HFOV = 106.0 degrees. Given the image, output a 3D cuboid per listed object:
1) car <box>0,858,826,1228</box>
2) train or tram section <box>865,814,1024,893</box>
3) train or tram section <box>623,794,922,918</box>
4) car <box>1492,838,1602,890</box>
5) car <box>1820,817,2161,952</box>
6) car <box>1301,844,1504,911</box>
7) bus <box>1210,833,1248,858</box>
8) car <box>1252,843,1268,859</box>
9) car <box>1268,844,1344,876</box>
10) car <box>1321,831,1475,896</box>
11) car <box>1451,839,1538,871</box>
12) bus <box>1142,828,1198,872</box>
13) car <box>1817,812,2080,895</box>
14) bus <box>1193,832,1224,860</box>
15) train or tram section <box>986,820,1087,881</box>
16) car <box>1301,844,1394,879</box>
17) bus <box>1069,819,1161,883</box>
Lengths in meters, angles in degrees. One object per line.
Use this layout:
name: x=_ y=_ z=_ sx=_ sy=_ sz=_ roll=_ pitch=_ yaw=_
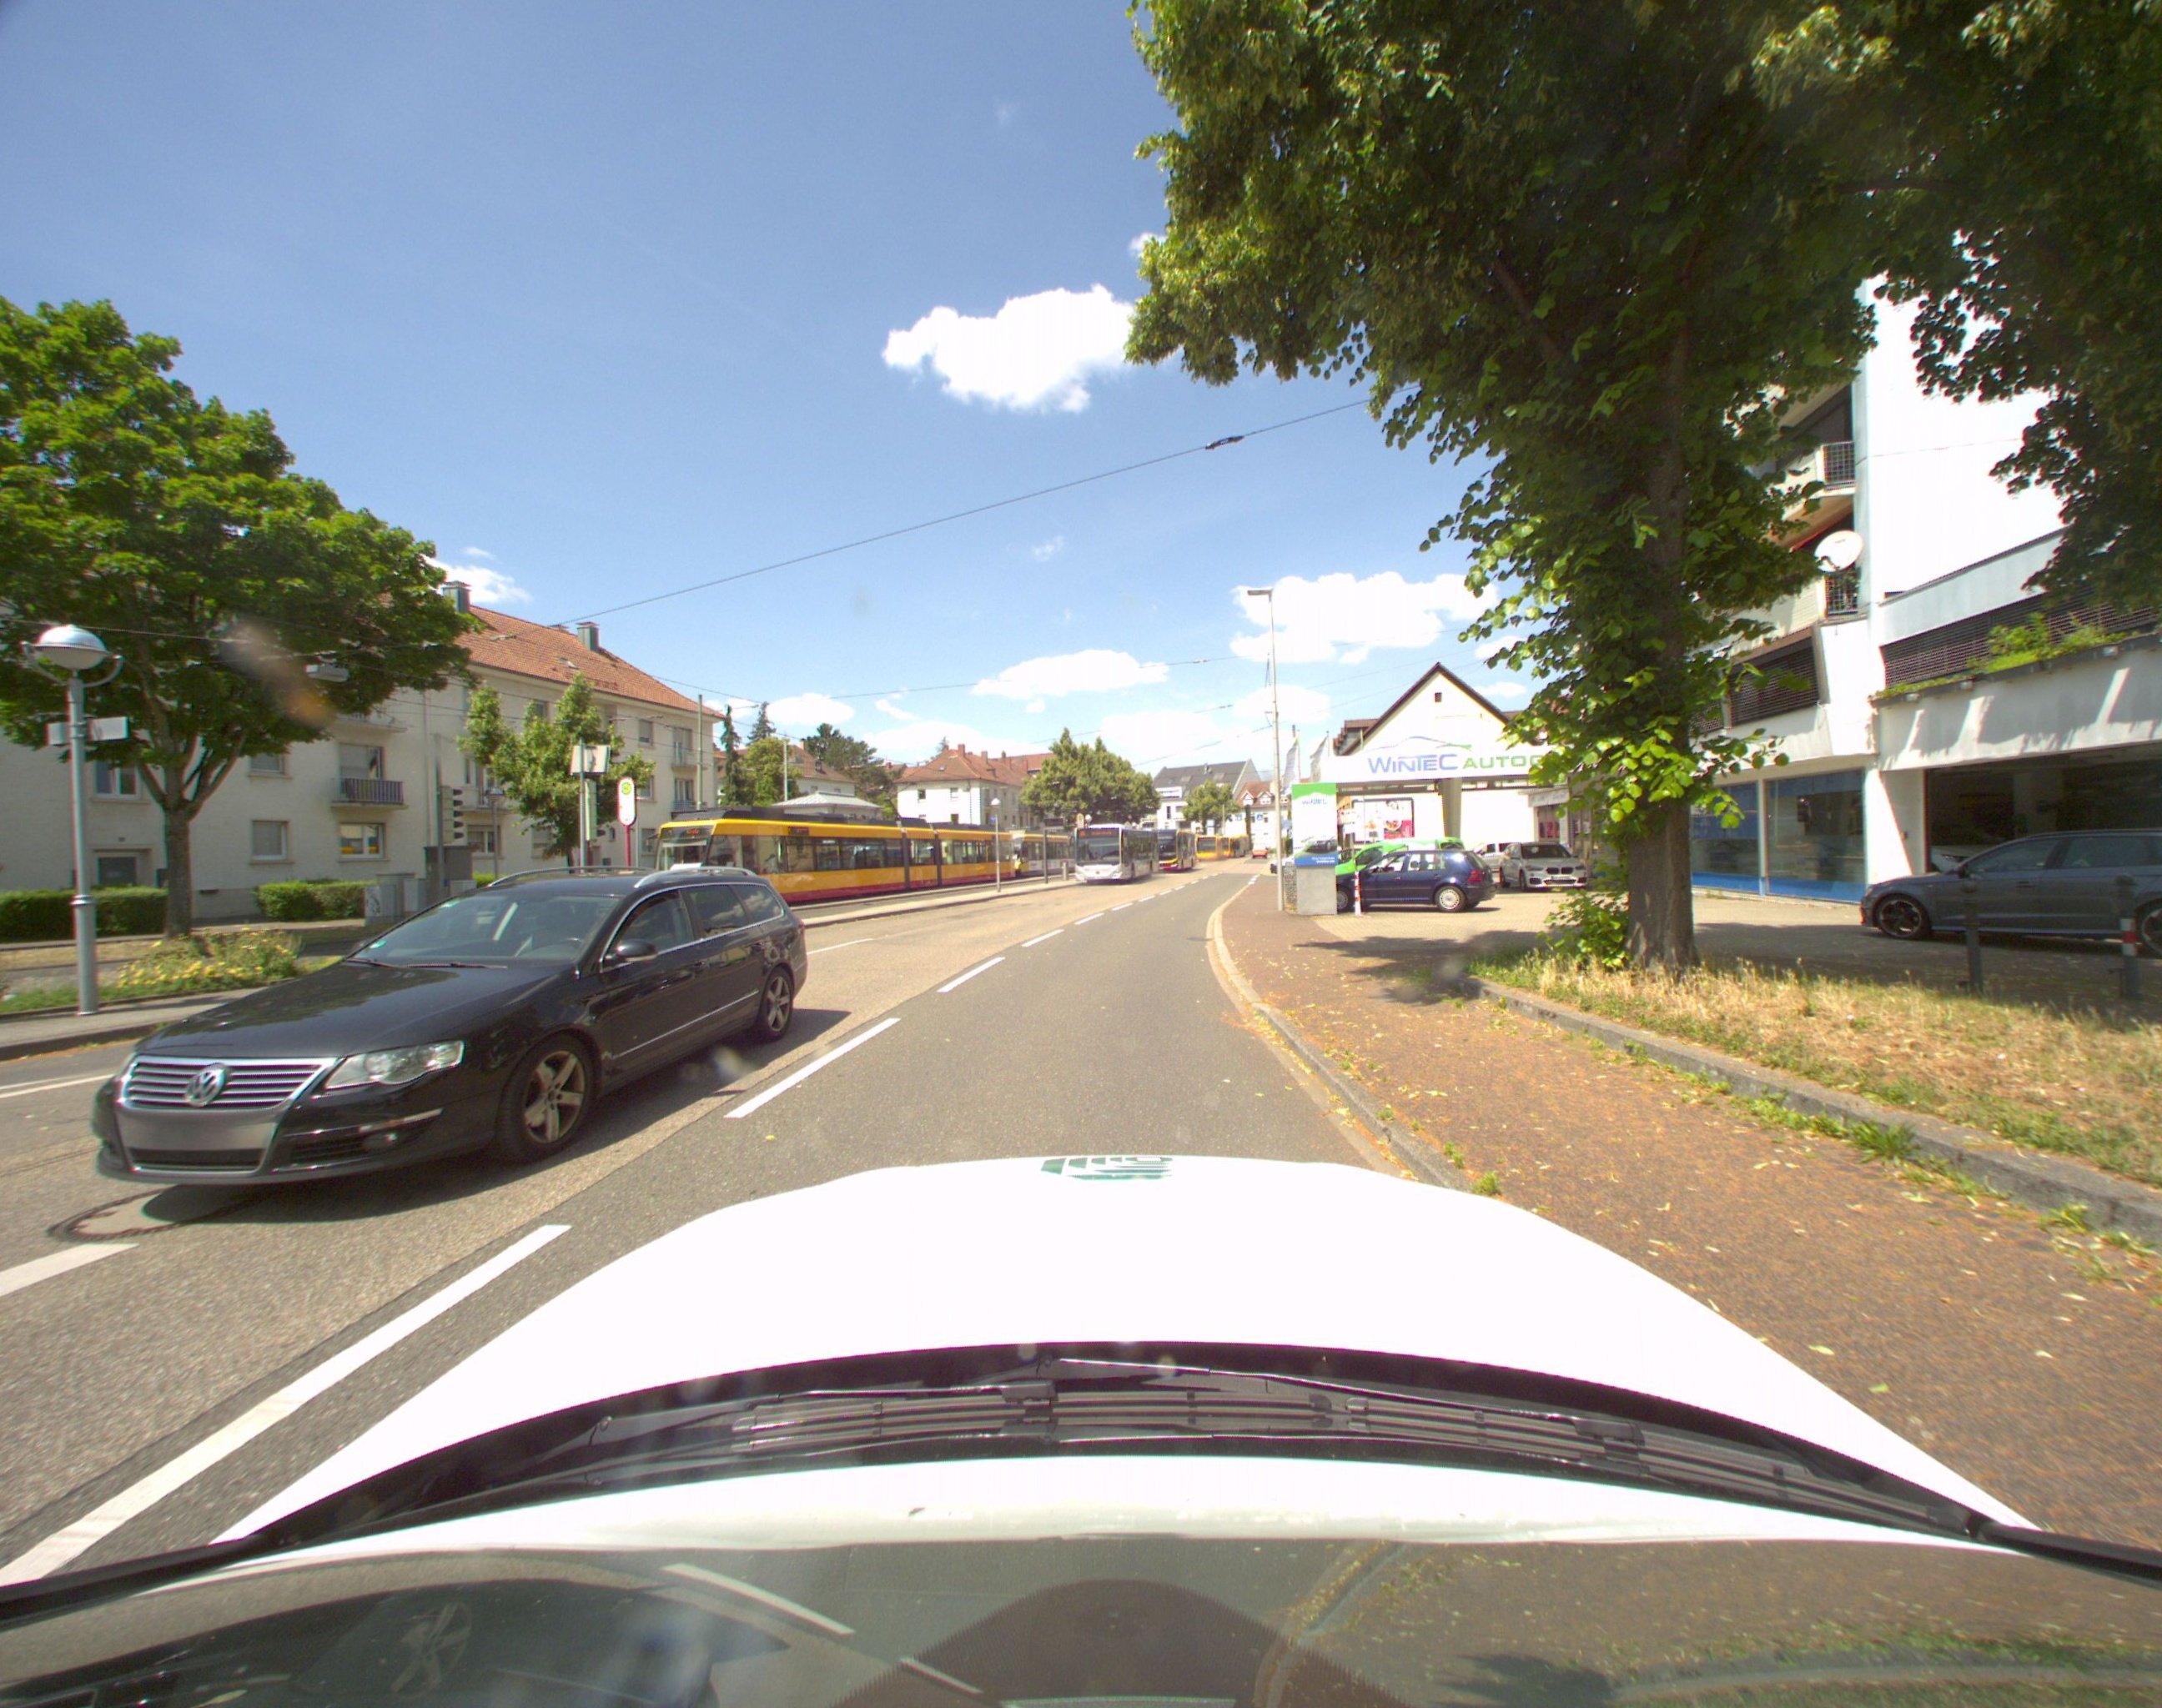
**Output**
car: x=-3.631 y=0.816 z=5.691 sx=1.985 sy=1.519 sz=4.516 roll=-1 pitch=0 yaw=4
train or tram section: x=-6.833 y=-0.050 z=44.745 sx=2.765 sy=3.568 sz=14.762 roll=-1 pitch=0 yaw=14
train or tram section: x=-10.436 y=0.041 z=30.720 sx=2.789 sy=3.568 sz=14.236 roll=-1 pitch=0 yaw=14
car: x=15.433 y=0.315 z=27.244 sx=1.994 sy=1.596 sz=4.304 roll=-1 pitch=0 yaw=13
car: x=12.132 y=0.326 z=10.120 sx=1.699 sy=1.428 sz=4.355 roll=-1 pitch=-1 yaw=-5
car: x=7.636 y=0.555 z=19.481 sx=4.118 sy=1.439 sz=1.914 roll=-2 pitch=-1 yaw=37
bus: x=20.600 y=-1.164 z=112.951 sx=2.610 sy=3.218 sz=9.998 roll=-2 pitch=0 yaw=25
car: x=23.743 y=-0.414 z=107.830 sx=1.795 sy=1.981 sz=4.016 roll=-1 pitch=0 yaw=15
car: x=13.605 y=0.339 z=49.531 sx=4.278 sy=1.809 sz=2.006 roll=-1 pitch=2 yaw=9
car: x=9.537 y=0.301 z=24.757 sx=1.850 sy=1.794 sz=3.982 roll=-2 pitch=-1 yaw=-35
car: x=24.661 y=0.052 z=48.692 sx=4.278 sy=1.809 sz=2.006 roll=-1 pitch=2 yaw=10
bus: x=7.271 y=-0.295 z=64.998 sx=2.711 sy=3.129 sz=12.054 roll=-1 pitch=0 yaw=14
car: x=19.003 y=-0.018 z=18.198 sx=1.979 sy=1.585 sz=4.399 roll=-1 pitch=0 yaw=15
bus: x=15.747 y=-0.991 z=99.950 sx=2.711 sy=3.218 sz=11.091 roll=-1 pitch=0 yaw=14
train or tram section: x=-2.855 y=-0.232 z=60.352 sx=2.765 sy=3.895 sz=15.612 roll=-1 pitch=0 yaw=14
car: x=12.825 y=0.378 z=39.371 sx=3.914 sy=1.518 sz=1.824 roll=-2 pitch=-1 yaw=2
bus: x=2.242 y=-0.174 z=46.194 sx=2.711 sy=3.129 sz=12.054 roll=-1 pitch=0 yaw=14
